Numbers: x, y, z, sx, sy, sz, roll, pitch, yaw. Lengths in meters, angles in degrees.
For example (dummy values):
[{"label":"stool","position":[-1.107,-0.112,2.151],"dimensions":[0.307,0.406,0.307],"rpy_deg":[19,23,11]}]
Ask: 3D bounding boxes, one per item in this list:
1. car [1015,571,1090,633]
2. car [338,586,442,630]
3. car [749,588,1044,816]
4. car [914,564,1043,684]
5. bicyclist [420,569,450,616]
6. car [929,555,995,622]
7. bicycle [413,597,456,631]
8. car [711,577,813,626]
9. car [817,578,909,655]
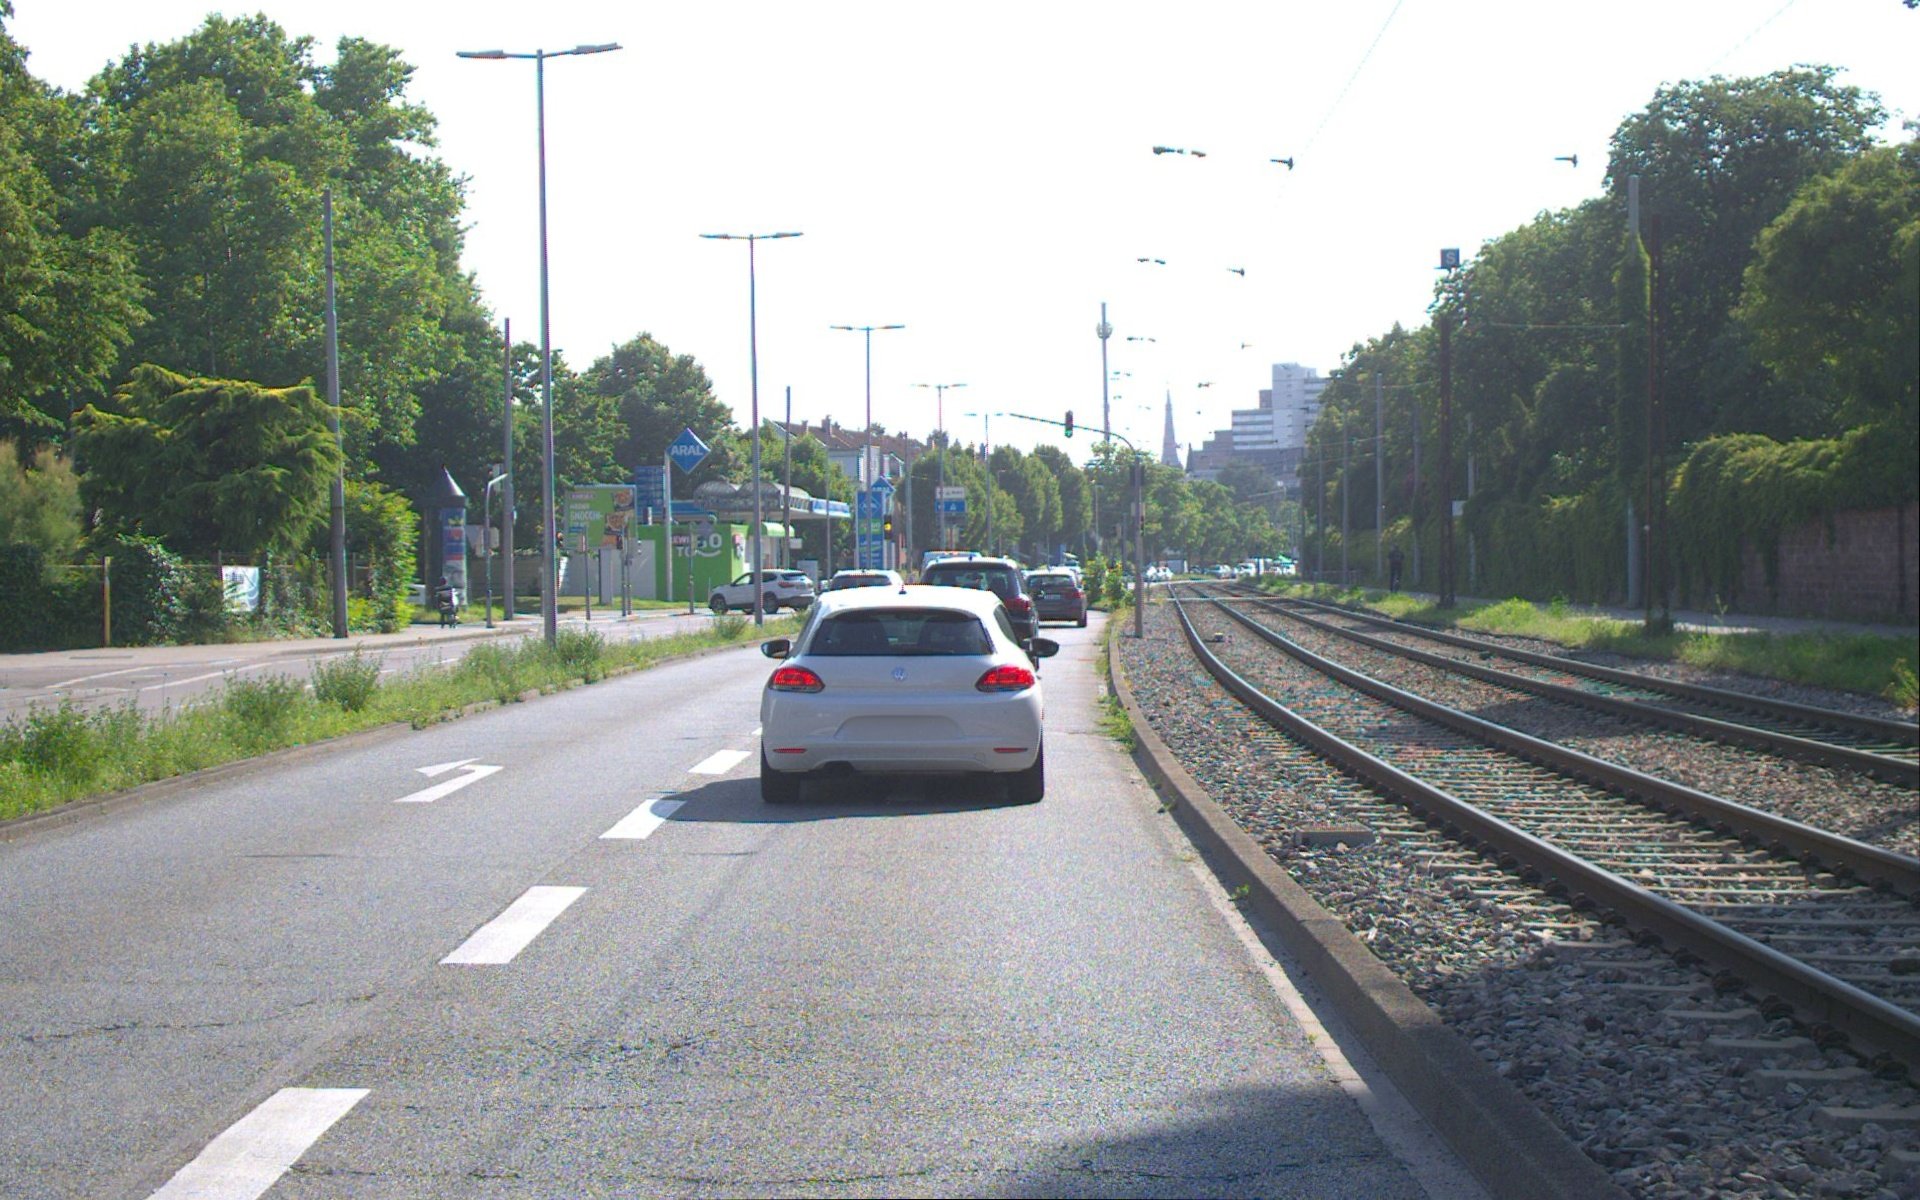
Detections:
[{"label":"car","position":[2.321,0.038,86.973],"dimensions":[1.749,1.480,3.601],"rpy_deg":[1,0,0]},{"label":"car","position":[-22.104,0.320,133.402],"dimensions":[3.590,1.583,1.698],"rpy_deg":[2,0,14]},{"label":"car","position":[-0.368,0.620,22.875],"dimensions":[1.781,1.352,3.601],"rpy_deg":[1,0,1]},{"label":"car","position":[0.241,0.314,48.491],"dimensions":[1.724,1.587,3.601],"rpy_deg":[1,0,0]},{"label":"bicyclist","position":[-16.388,-0.242,107.402],"dimensions":[0.662,1.447,1.050],"rpy_deg":[-1,0,7]},{"label":"car","position":[0.075,-0.329,103.920],"dimensions":[1.818,1.956,4.402],"rpy_deg":[-1,0,2]},{"label":"bicycle","position":[-16.391,0.429,107.334],"dimensions":[0.662,1.046,2.579],"rpy_deg":[-1,0,7]},{"label":"car","position":[-7.376,0.041,127.813],"dimensions":[1.651,1.728,3.950],"rpy_deg":[2,0,-41]},{"label":"car","position":[-1.952,0.312,70.385],"dimensions":[1.760,1.480,4.645],"rpy_deg":[1,0,0]}]
